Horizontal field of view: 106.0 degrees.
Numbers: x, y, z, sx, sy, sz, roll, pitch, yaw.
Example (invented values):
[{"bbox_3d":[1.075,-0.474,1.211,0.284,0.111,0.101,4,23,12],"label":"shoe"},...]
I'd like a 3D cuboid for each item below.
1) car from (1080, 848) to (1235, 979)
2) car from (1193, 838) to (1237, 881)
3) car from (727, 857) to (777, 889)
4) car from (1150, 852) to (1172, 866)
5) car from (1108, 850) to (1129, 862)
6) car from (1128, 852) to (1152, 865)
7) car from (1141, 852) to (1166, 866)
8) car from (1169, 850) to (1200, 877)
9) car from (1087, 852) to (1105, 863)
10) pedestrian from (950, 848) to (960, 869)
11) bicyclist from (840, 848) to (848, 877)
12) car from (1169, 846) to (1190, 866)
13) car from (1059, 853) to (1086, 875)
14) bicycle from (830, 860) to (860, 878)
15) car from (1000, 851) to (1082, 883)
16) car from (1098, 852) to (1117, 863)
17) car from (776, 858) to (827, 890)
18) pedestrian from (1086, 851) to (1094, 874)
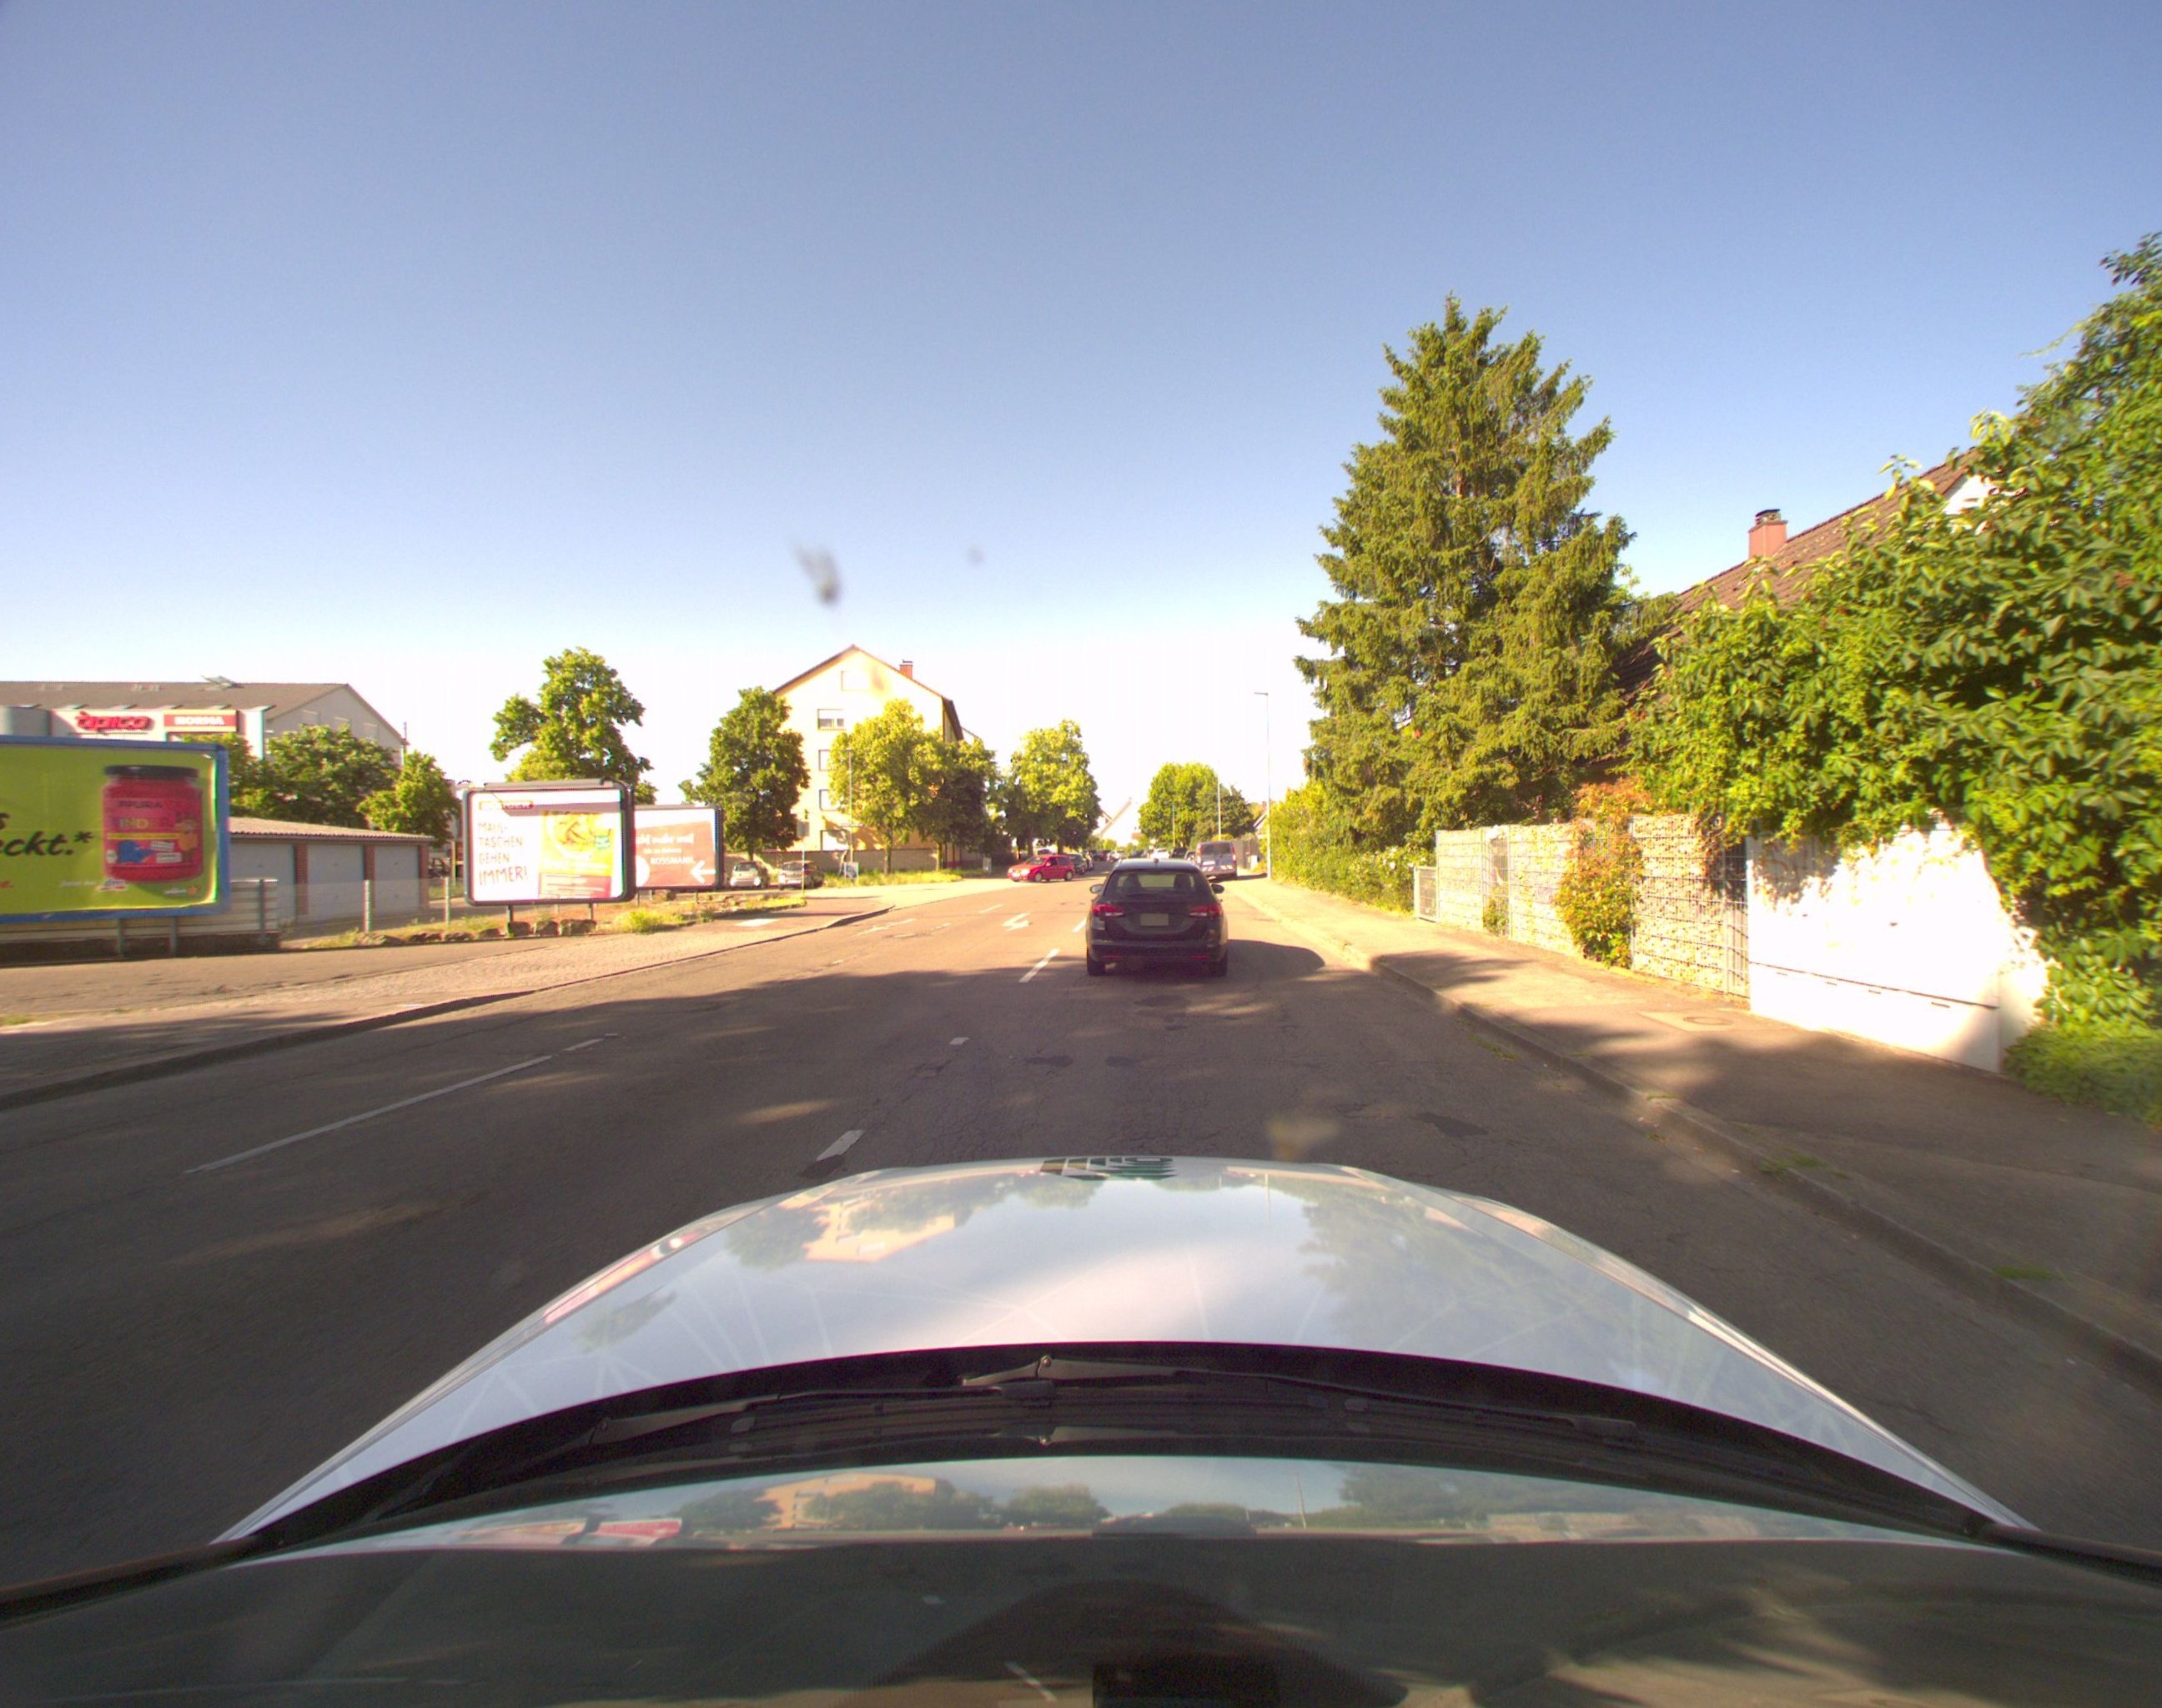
[{"bbox_3d":[1.073,0.695,11.469,1.753,1.491,4.297,-1,0,5],"label":"car"},{"bbox_3d":[6.425,0.241,39.519,1.827,1.907,4.706,-1,0,6],"label":"car"},{"bbox_3d":[-17.692,0.979,43.953,1.698,1.622,3.867,-2,0,-10],"label":"car"},{"bbox_3d":[9.135,0.553,93.200,1.758,1.480,4.286,-2,0,-5],"label":"car"},{"bbox_3d":[5.138,0.278,112.462,1.821,1.534,4.242,-2,0,-11],"label":"car"},{"bbox_3d":[7.493,0.593,103.309,2.006,1.475,4.278,-2,0,-11],"label":"car"},{"bbox_3d":[8.651,0.566,97.813,1.911,1.600,4.280,-2,0,-9],"label":"car"},{"bbox_3d":[6.341,0.553,50.330,1.756,1.480,5.000,-3,0,6],"label":"car"},{"bbox_3d":[2.312,0.493,123.607,1.821,1.534,4.242,-2,0,-11],"label":"car"},{"bbox_3d":[-10.561,0.421,68.204,0.682,1.718,0.721,-2,-2,5],"label":"pedestrian"},{"bbox_3d":[-13.757,0.509,47.289,0.390,1.686,0.379,-1,-2,-27],"label":"bicyclist"},{"bbox_3d":[9.291,0.184,77.157,1.769,1.724,4.301,-2,0,6],"label":"car"},{"bbox_3d":[-0.562,0.698,56.621,1.694,1.480,4.054,0,-1,2],"label":"car"},{"bbox_3d":[-13.698,0.889,47.293,1.626,1.011,0.403,-1,-2,-27],"label":"bicycle"},{"bbox_3d":[-2.090,0.644,43.724,1.993,1.568,4.421,0,1,38],"label":"car"},{"bbox_3d":[3.798,0.501,117.792,1.821,1.534,4.242,-2,0,-11],"label":"car"},{"bbox_3d":[-14.790,1.022,43.276,1.727,1.464,3.871,-2,1,-8],"label":"car"},{"bbox_3d":[0.681,0.668,63.013,0.502,1.761,0.695,-2,-2,2],"label":"pedestrian"}]
